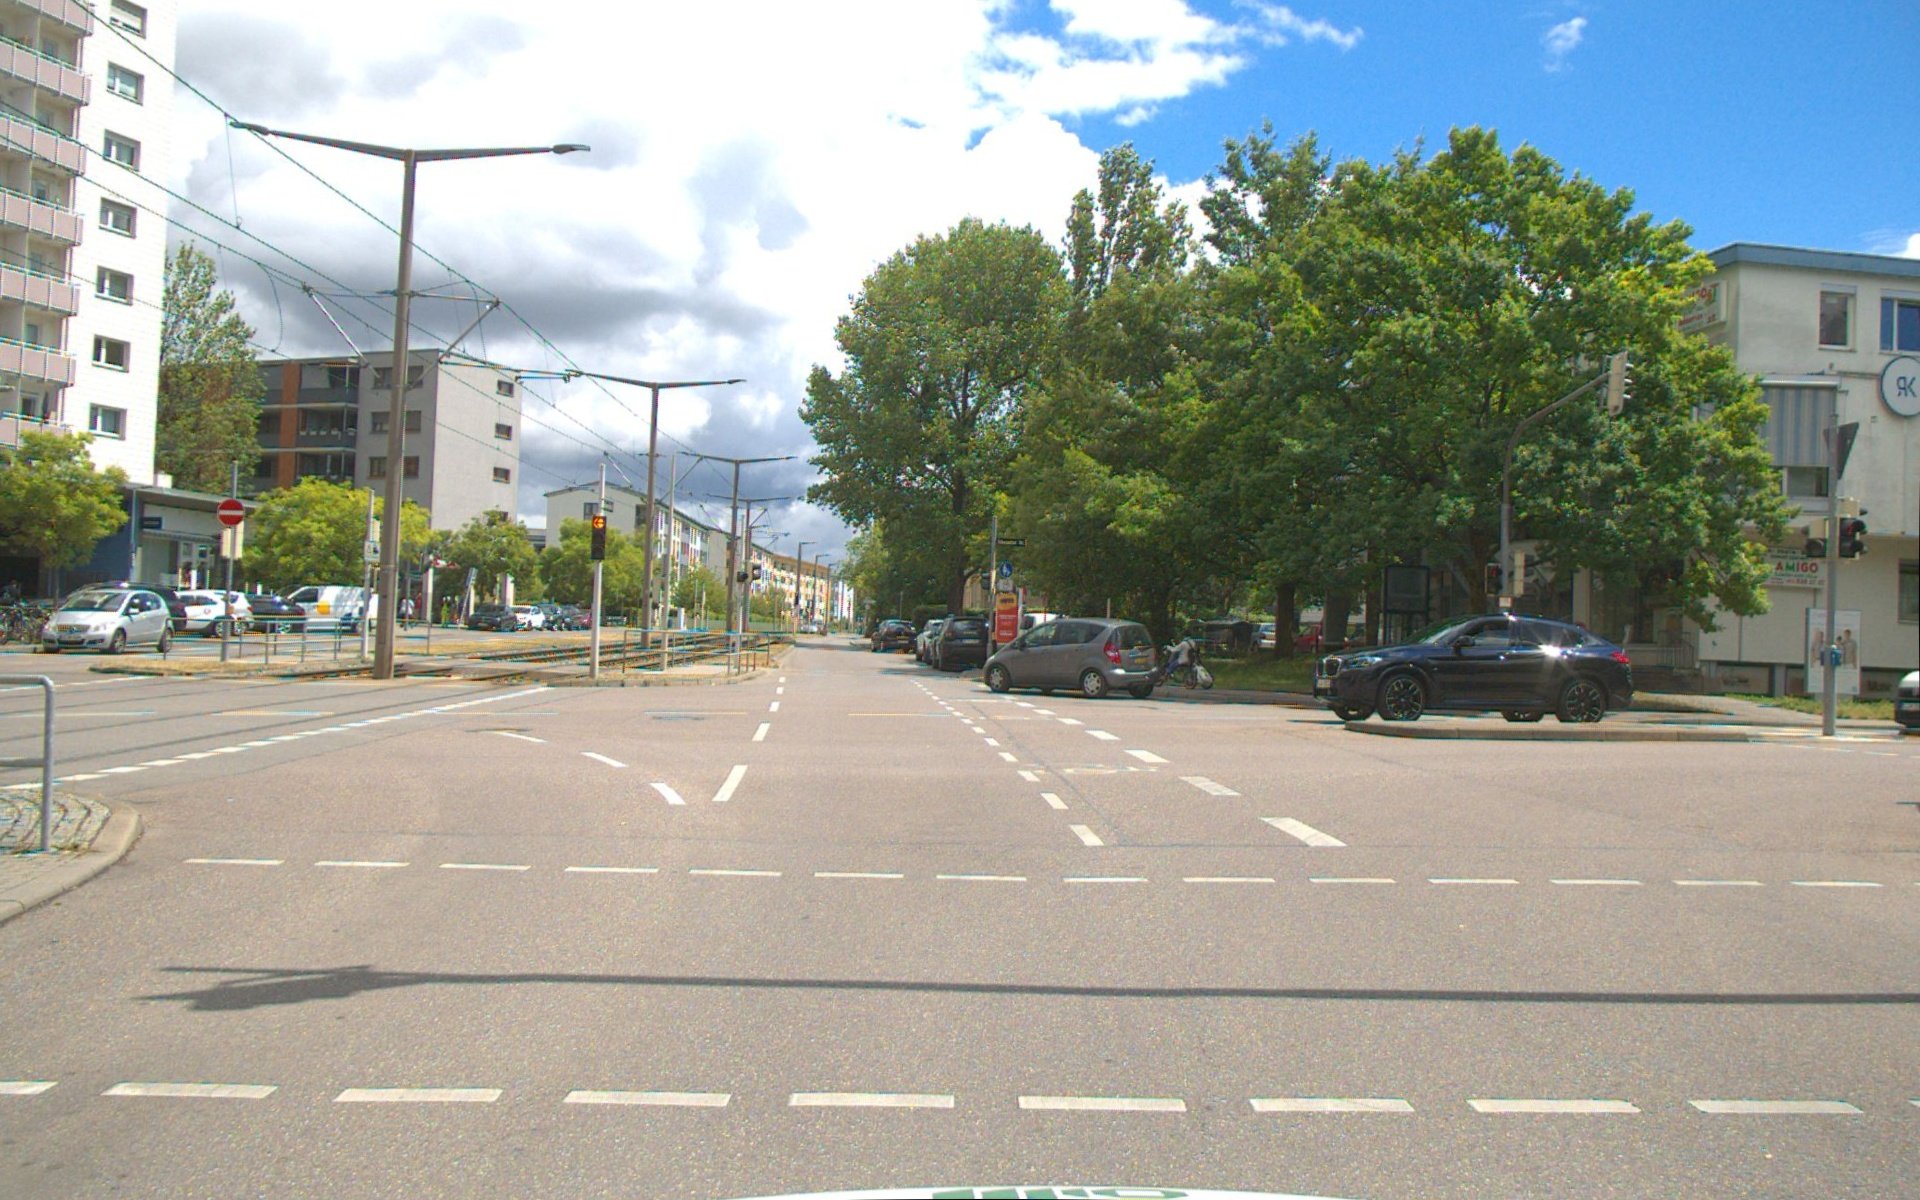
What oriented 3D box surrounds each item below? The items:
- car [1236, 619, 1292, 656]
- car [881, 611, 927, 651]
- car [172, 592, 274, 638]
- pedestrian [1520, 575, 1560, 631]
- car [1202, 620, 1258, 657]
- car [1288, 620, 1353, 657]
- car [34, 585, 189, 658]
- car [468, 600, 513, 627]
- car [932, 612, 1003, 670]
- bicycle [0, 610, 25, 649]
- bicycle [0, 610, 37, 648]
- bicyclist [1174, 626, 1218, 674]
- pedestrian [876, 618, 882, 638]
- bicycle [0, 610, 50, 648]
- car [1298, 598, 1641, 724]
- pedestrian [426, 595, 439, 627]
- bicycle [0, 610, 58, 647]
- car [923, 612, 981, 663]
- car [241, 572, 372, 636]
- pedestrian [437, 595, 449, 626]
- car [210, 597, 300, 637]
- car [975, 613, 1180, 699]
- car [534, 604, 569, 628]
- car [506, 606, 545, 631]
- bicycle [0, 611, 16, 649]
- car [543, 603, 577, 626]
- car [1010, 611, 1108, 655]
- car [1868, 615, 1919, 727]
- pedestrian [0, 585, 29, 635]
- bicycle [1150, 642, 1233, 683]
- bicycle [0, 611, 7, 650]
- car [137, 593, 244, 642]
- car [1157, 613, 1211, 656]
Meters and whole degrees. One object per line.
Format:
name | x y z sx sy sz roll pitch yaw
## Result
car | 14.060 1.729 76.767 1.598 1.623 3.997 1 0 -4
car | -2.508 1.369 74.335 1.953 1.713 3.999 1 0 -1
car | -27.063 0.534 60.705 4.143 1.564 1.949 1 0 43
pedestrian | 17.565 0.084 50.095 0.755 1.672 0.904 2 0 -14
car | 12.267 1.727 75.331 1.598 1.600 4.029 1 0 -4
car | 16.804 1.777 77.242 1.698 1.623 3.993 1 0 -8
car | -21.265 0.522 41.616 1.898 1.723 3.872 1 0 -1
car | -25.711 0.715 90.666 1.728 1.419 3.993 1 0 -7
car | 0.200 1.266 51.779 2.108 1.713 3.999 1 -1 -1
bicycle | -24.701 0.734 41.699 1.910 0.951 0.494 1 -1 -7
bicycle | -24.714 0.737 42.245 1.910 0.951 0.494 1 -1 -7
bicyclist | 5.308 1.129 37.228 0.788 1.040 0.626 2 -1 -44
pedestrian | -6.736 2.344 137.728 0.469 1.665 0.454 1 0 -2
bicycle | -24.712 0.741 42.847 1.910 0.951 0.494 1 -1 -7
car | 7.515 0.887 24.567 4.479 1.747 1.994 1 0 -13
pedestrian | -28.713 0.580 90.030 0.537 1.746 0.404 1 0 -11
bicycle | -24.760 0.744 43.337 1.910 0.951 0.494 1 -1 -7
car | -0.304 1.334 59.217 1.953 1.713 3.999 1 -1 -1
car | -27.330 0.138 69.019 2.811 2.522 6.614 1 0 -44
pedestrian | -28.870 0.578 92.424 0.537 1.746 0.667 1 0 -11
car | -27.329 0.638 64.082 4.147 1.445 1.777 1 0 45
car | 2.404 1.116 34.255 3.851 1.583 1.987 1 0 43
car | -25.828 1.014 104.664 1.728 1.419 3.993 1 0 -7
car | -25.731 1.064 98.073 1.728 1.419 3.993 1 0 -7
bicycle | -24.655 0.732 41.224 1.910 0.951 0.494 1 -1 -7
car | -26.386 0.937 109.220 1.728 1.419 3.993 1 0 -7
car | 4.388 1.477 73.363 3.933 1.855 1.766 1 0 -24
car | 17.166 1.161 26.362 4.475 1.747 1.995 1 0 -10
pedestrian | -31.531 0.320 55.029 0.754 1.643 0.696 1 0 -14
bicycle | 5.207 1.399 37.269 0.787 0.833 1.780 2 0 -42
bicycle | -24.608 0.729 40.719 1.910 0.951 0.494 1 -1 -7
car | -26.753 0.598 57.467 4.143 1.597 1.949 1 0 43
car | 10.087 1.541 74.726 1.598 1.842 4.029 1 0 -4
